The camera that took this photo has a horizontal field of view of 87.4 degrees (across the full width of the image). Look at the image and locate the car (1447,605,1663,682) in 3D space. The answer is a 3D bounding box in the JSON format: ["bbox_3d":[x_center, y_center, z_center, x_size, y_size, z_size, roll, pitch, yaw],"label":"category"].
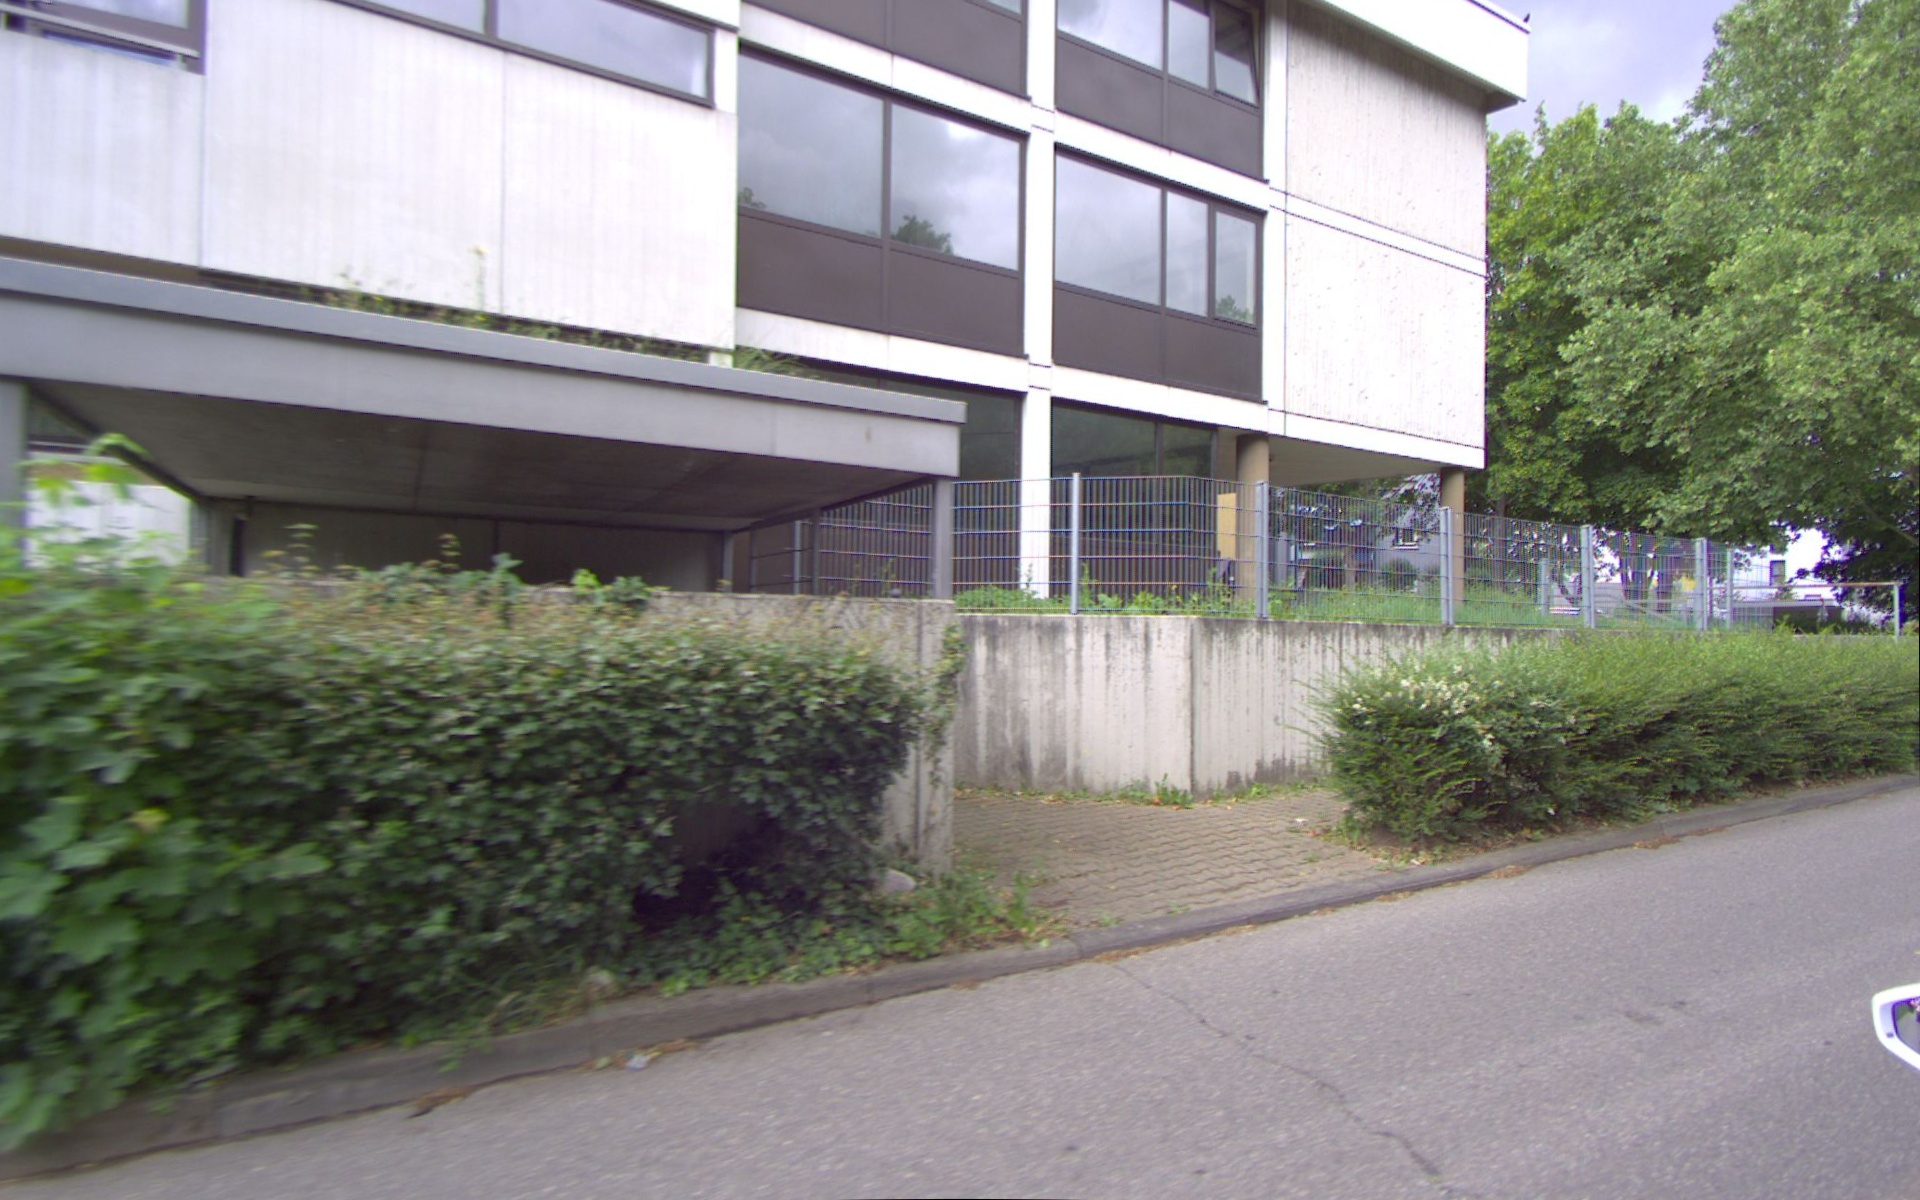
[{"bbox_3d":[13.715,0.977,23.387,3.919,1.632,1.826,1,-1,13],"label":"car"}]
